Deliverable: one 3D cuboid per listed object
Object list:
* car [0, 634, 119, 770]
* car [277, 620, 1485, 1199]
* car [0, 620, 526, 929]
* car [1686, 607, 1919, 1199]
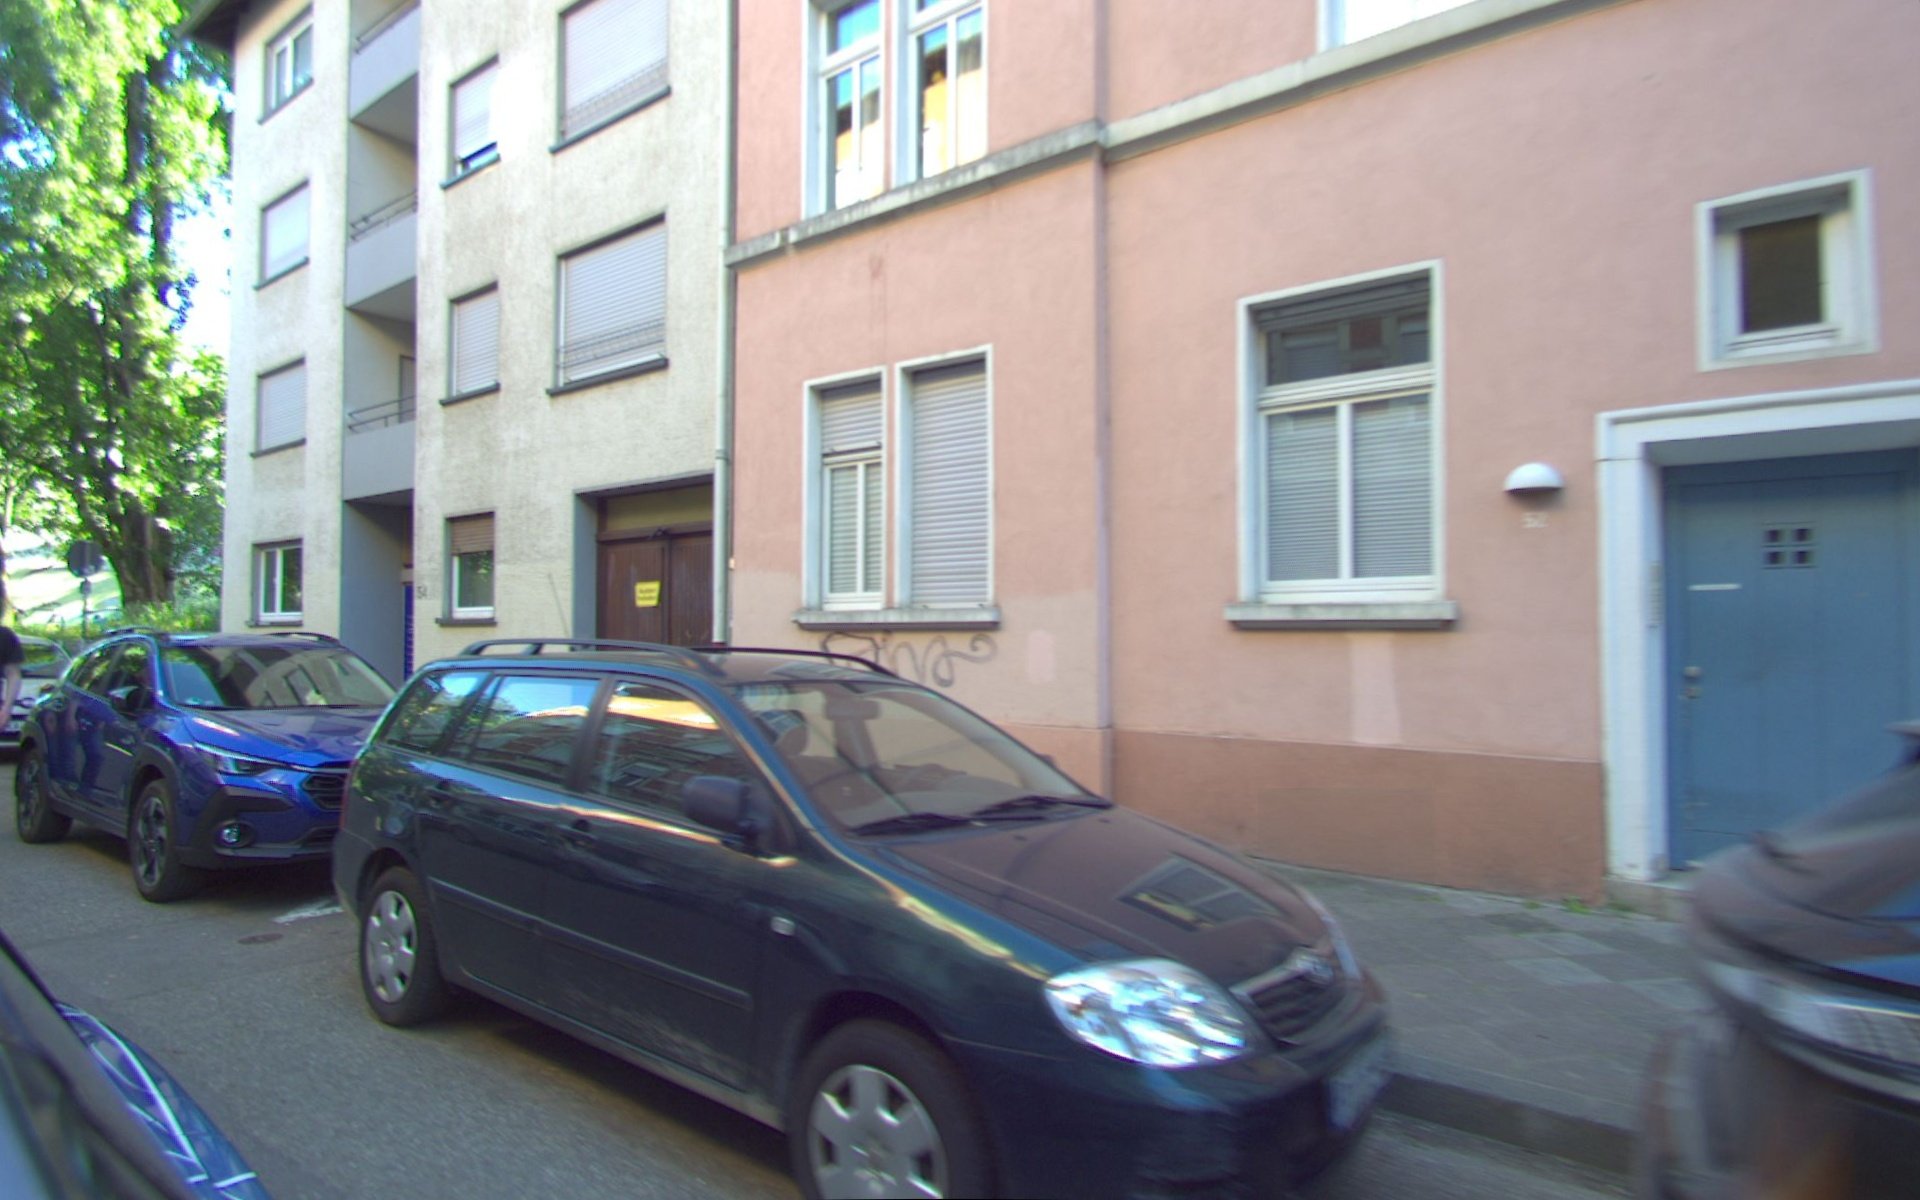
[{"bbox_3d":[-12.404,1.213,12.845,3.860,1.551,1.660,-1,-4,35],"label":"car"},{"bbox_3d":[-0.675,0.872,3.709,4.407,1.523,1.659,-1,-3,37],"label":"car"},{"bbox_3d":[-5.104,0.966,7.087,4.367,1.551,1.714,-1,-4,35],"label":"car"},{"bbox_3d":[3.319,0.738,0.637,4.600,1.488,1.659,-2,-4,37],"label":"car"}]
